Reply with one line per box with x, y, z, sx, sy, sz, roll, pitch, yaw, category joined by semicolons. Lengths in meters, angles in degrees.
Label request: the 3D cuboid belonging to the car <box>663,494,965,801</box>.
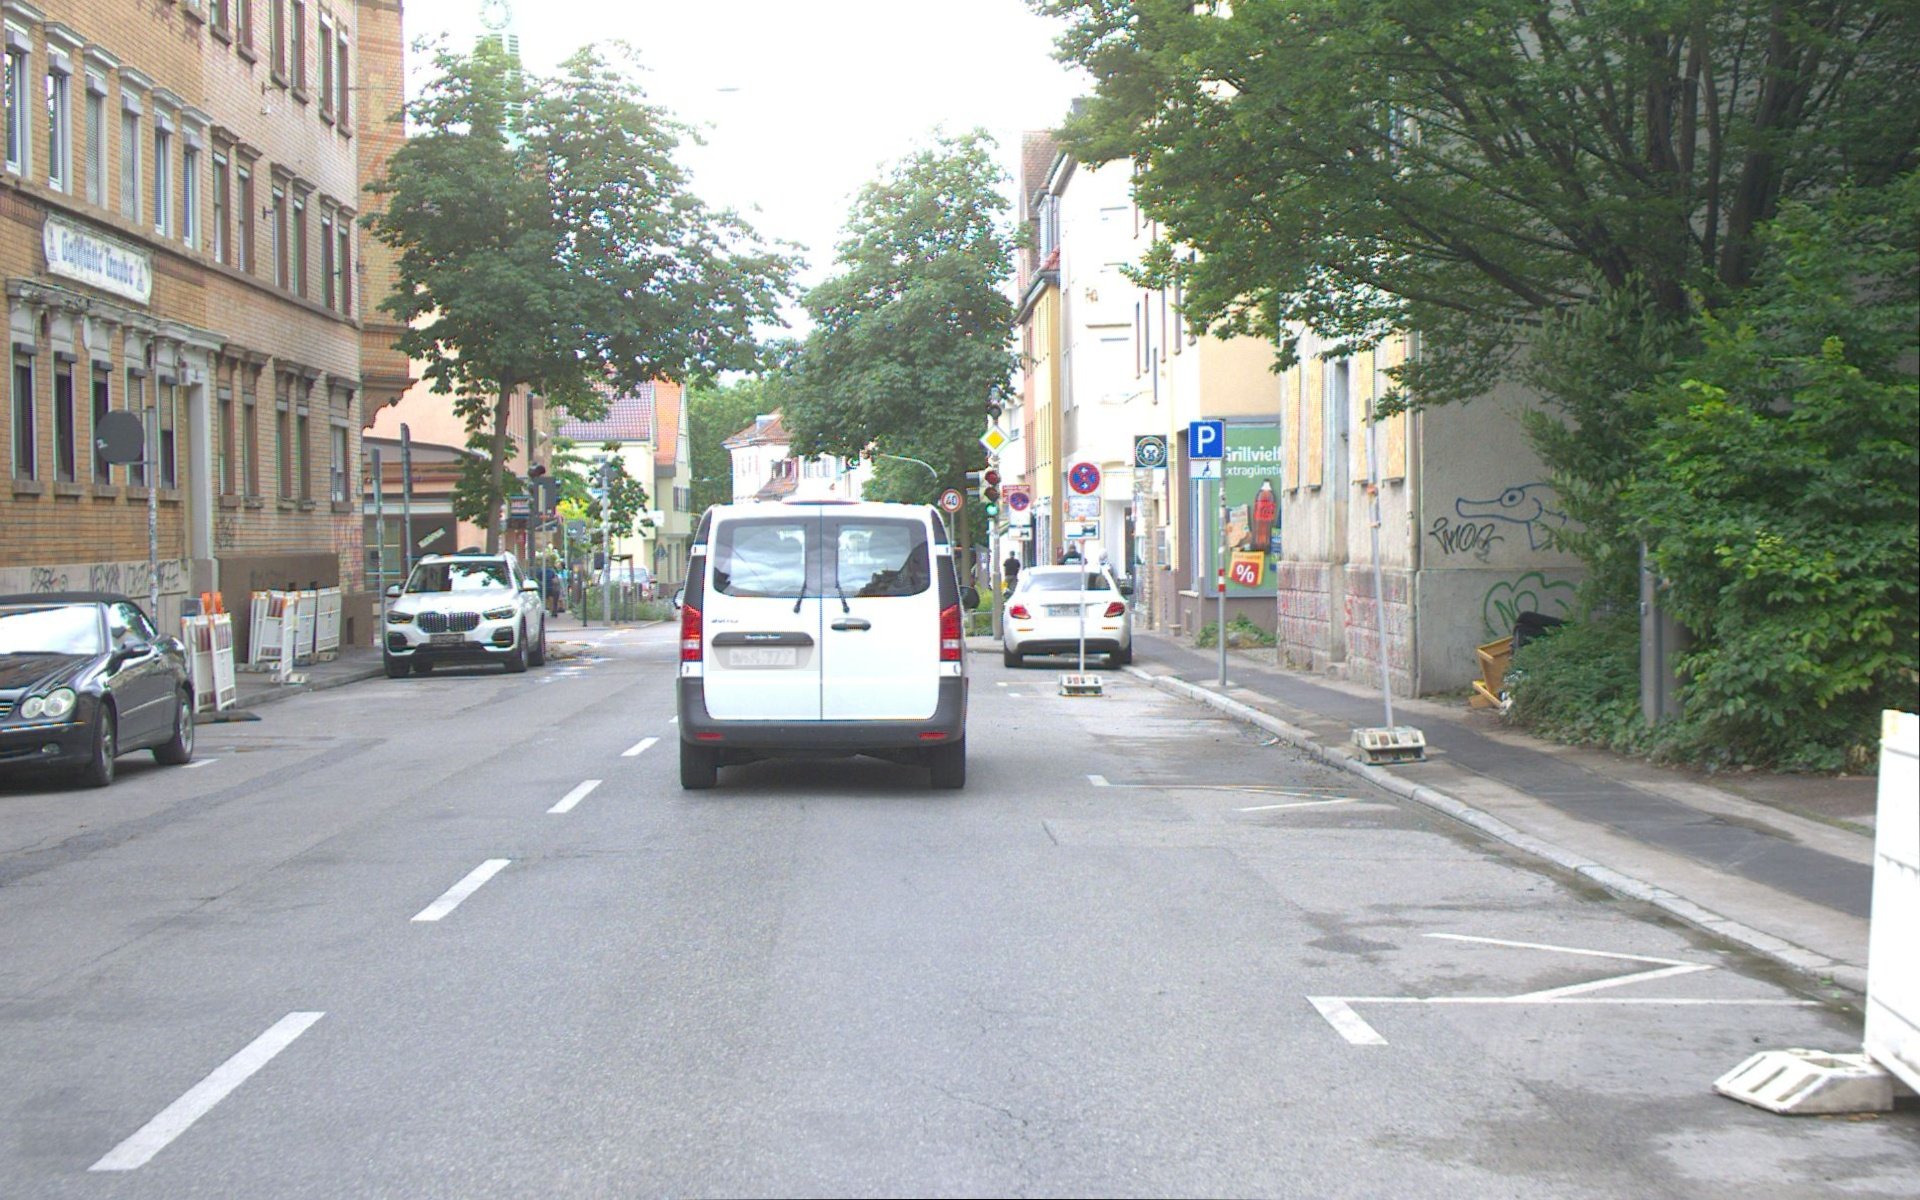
-0.987;0.280;23.524;1.872;1.905;4.000;0;0;-2;car

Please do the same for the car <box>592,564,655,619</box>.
-10.248;-0.287;104.956;1.702;1.568;4.451;-3;1;-4;car

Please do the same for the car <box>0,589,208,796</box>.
-6.935;0.651;25.952;1.578;1.378;4.354;-2;1;-1;car

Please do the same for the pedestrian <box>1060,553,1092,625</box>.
2.703;-0.263;80.231;0.614;1.647;0.983;1;0;-4;pedestrian

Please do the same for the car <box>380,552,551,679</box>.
-7.263;0.192;50.902;1.891;1.706;4.741;-2;1;-1;car

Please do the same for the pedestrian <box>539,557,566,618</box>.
-11.585;-0.363;97.814;0.738;1.712;1.157;0;1;-5;pedestrian

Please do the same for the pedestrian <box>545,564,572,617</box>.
-11.737;-0.281;100.599;0.738;1.529;0.983;0;1;-4;pedestrian

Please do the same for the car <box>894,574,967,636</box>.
-0.882;0.141;99.815;1.819;1.775;4.404;0;0;-5;car

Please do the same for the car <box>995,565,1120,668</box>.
1.429;0.212;51.162;1.767;1.461;4.783;0;1;1;car
